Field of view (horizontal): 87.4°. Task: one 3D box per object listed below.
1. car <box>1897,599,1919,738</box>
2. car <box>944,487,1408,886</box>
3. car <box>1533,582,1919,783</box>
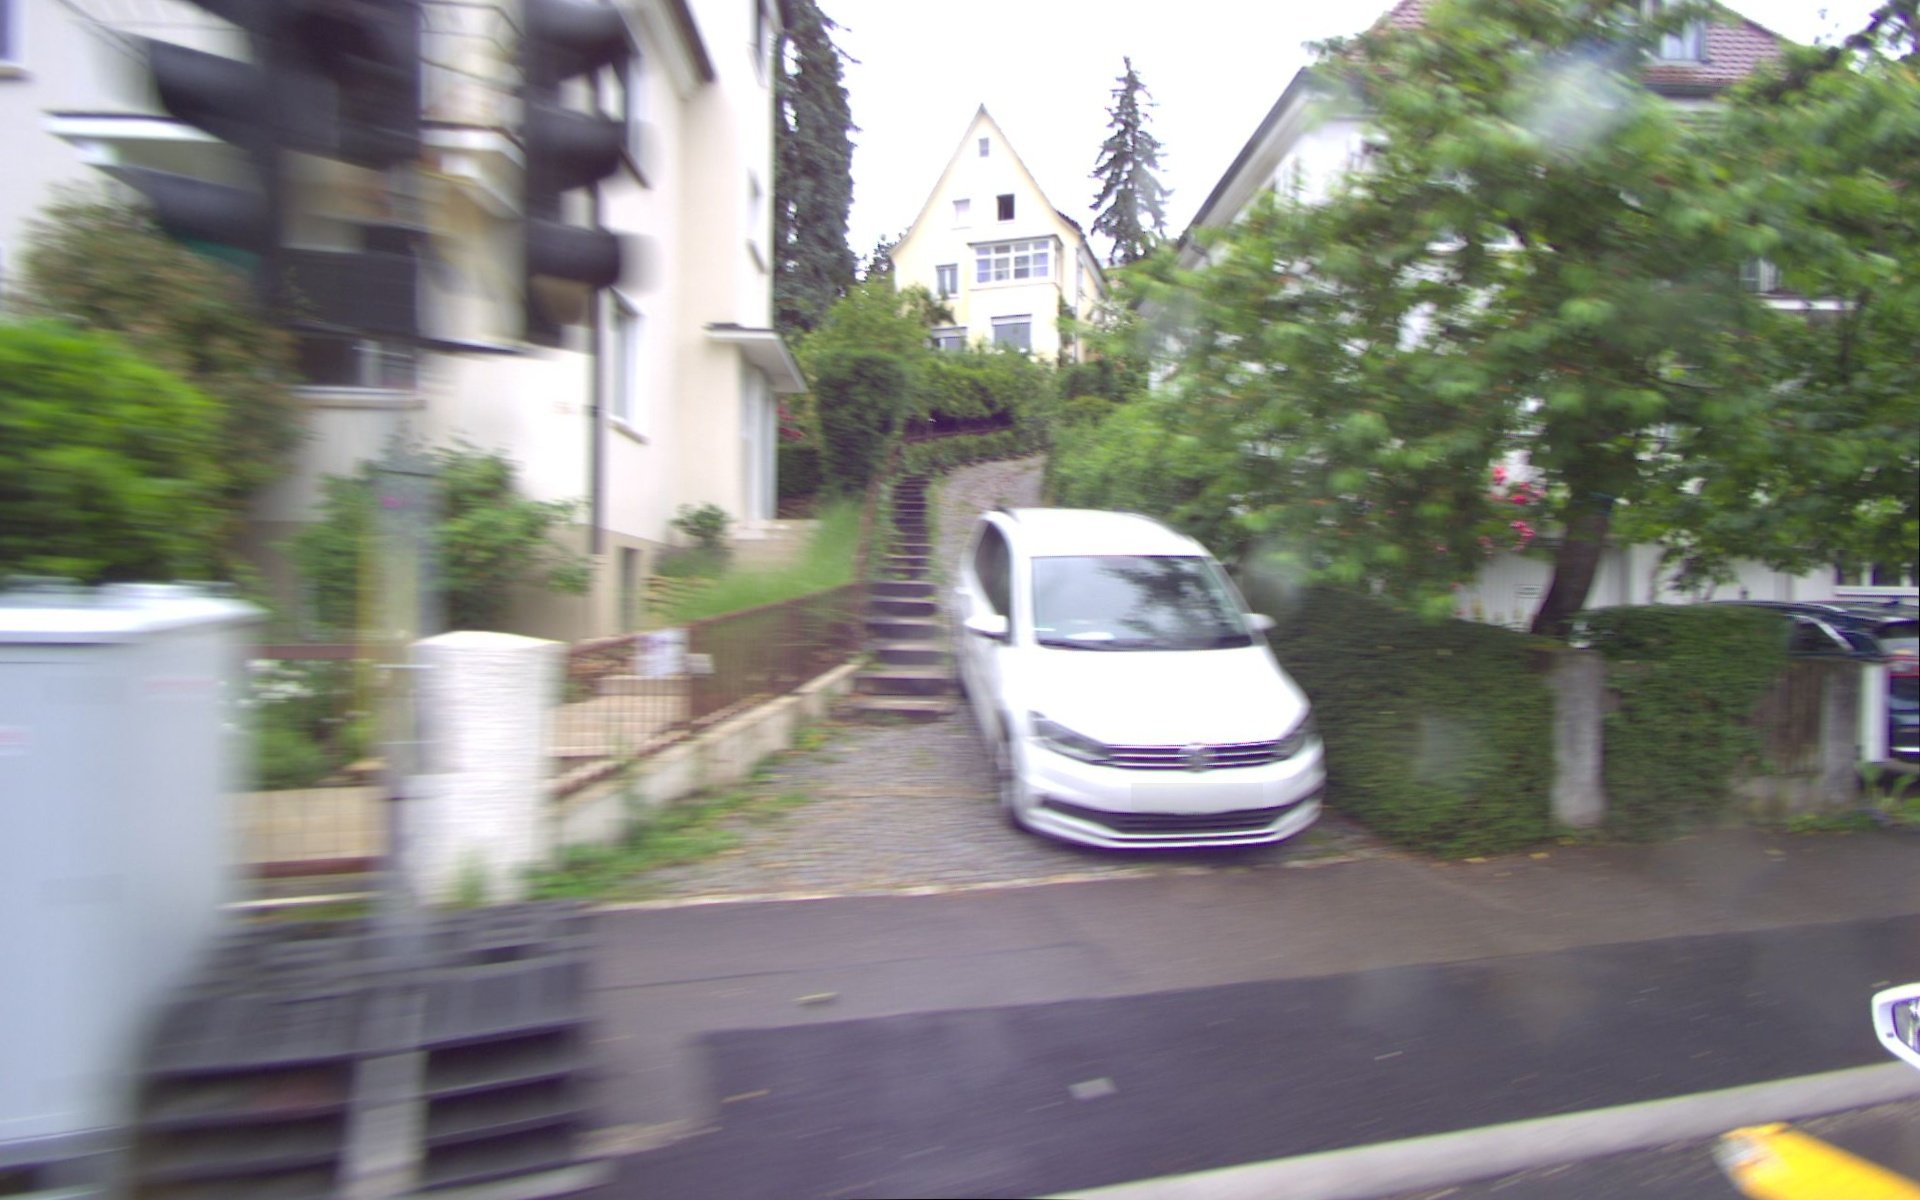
[{"bbox_3d":[10.899,0.791,9.713,1.755,1.546,3.992,3,1,30],"label":"car"},{"bbox_3d":[1.032,0.191,7.462,1.829,1.640,4.970,1,10,-6],"label":"car"},{"bbox_3d":[7.919,0.644,9.861,1.905,1.546,3.994,2,1,-8],"label":"car"}]
